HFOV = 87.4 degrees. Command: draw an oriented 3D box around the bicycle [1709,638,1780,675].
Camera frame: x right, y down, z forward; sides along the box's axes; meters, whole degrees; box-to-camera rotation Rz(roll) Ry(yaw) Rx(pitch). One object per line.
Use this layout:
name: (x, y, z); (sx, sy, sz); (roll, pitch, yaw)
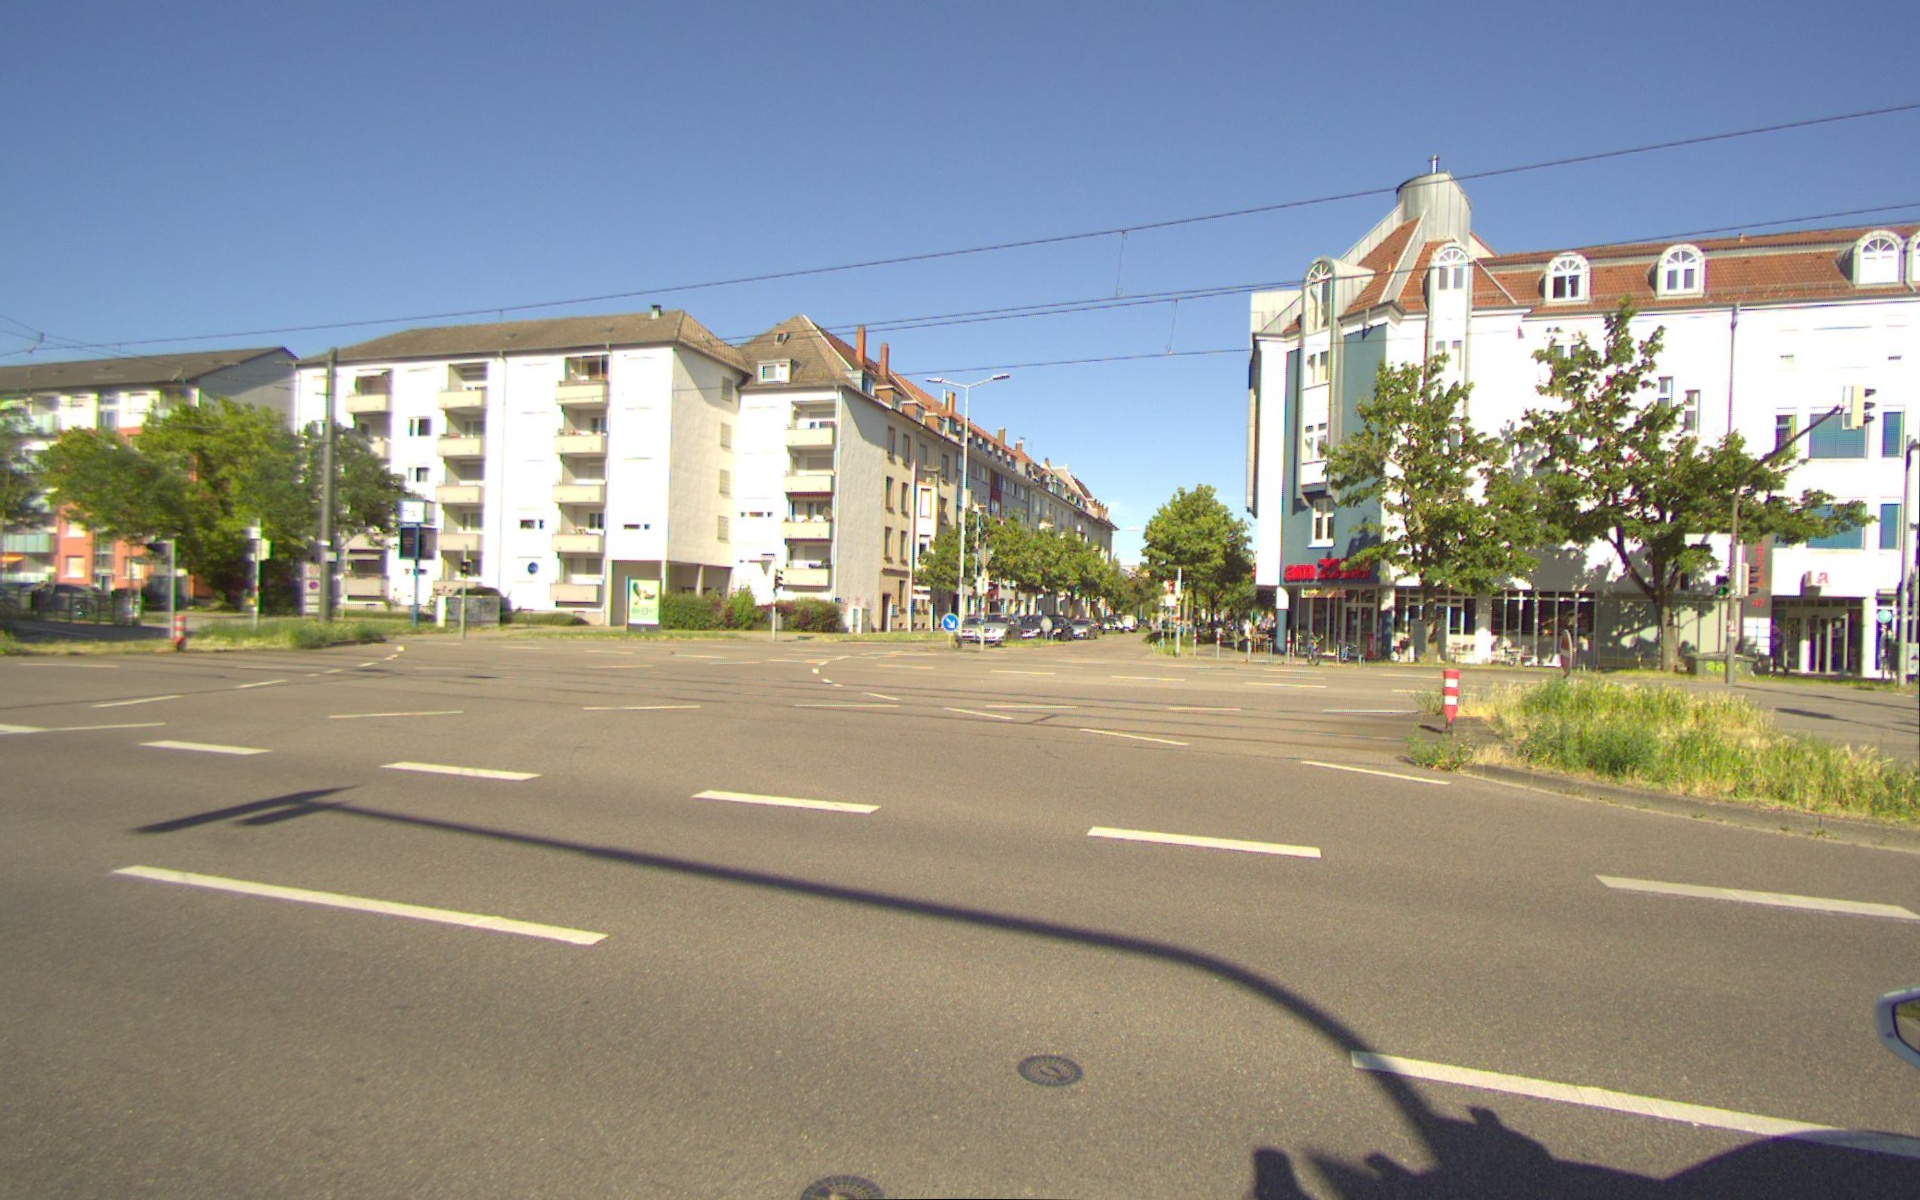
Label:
bicycle: (27.033, 1.939, 34.640); (1.832, 1.198, 0.562); (1, -1, 14)

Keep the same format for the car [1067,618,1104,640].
car: (9.037, 2.072, 72.037); (1.660, 1.451, 4.400); (4, 0, 20)

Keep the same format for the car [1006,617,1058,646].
car: (4.171, 1.822, 57.881); (1.661, 1.451, 4.399); (4, 0, 22)

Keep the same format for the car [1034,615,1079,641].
car: (6.166, 1.779, 63.774); (1.660, 1.451, 4.400); (4, 0, 20)

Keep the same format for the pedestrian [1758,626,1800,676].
pedestrian: (29.473, 1.831, 36.138); (0.973, 1.746, 0.654); (1, -1, 17)

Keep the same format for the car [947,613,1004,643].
car: (0.899, 1.544, 55.411); (1.660, 1.451, 4.400); (4, 0, 20)

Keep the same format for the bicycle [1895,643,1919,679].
bicycle: (32.817, 2.085, 34.268); (0.551, 1.198, 1.870); (1, -1, 16)

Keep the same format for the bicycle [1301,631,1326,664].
bicycle: (11.604, 1.547, 33.007); (0.463, 1.041, 1.517); (1, -1, 7)

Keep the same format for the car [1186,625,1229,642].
car: (21.196, 2.873, 85.971); (3.507, 1.239, 1.732); (2, -2, 16)

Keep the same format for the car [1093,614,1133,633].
car: (18.268, 2.755, 119.511); (4.429, 2.040, 2.001); (2, -1, 16)

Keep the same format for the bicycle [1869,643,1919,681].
bicycle: (31.883, 2.095, 34.253); (0.551, 1.198, 1.870); (1, -1, 16)

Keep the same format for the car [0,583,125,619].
car: (-44.137, 0.051, 49.479); (4.355, 1.451, 1.677); (4, 0, -34)

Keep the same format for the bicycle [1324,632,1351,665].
bicycle: (12.484, 1.591, 33.260); (0.463, 1.041, 1.517); (1, -1, 6)

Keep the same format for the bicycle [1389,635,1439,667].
bicycle: (15.411, 1.724, 34.114); (1.489, 1.041, 0.472); (1, -1, 29)

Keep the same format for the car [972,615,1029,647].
car: (2.142, 1.611, 51.896); (1.660, 1.451, 4.400); (4, 0, 20)
